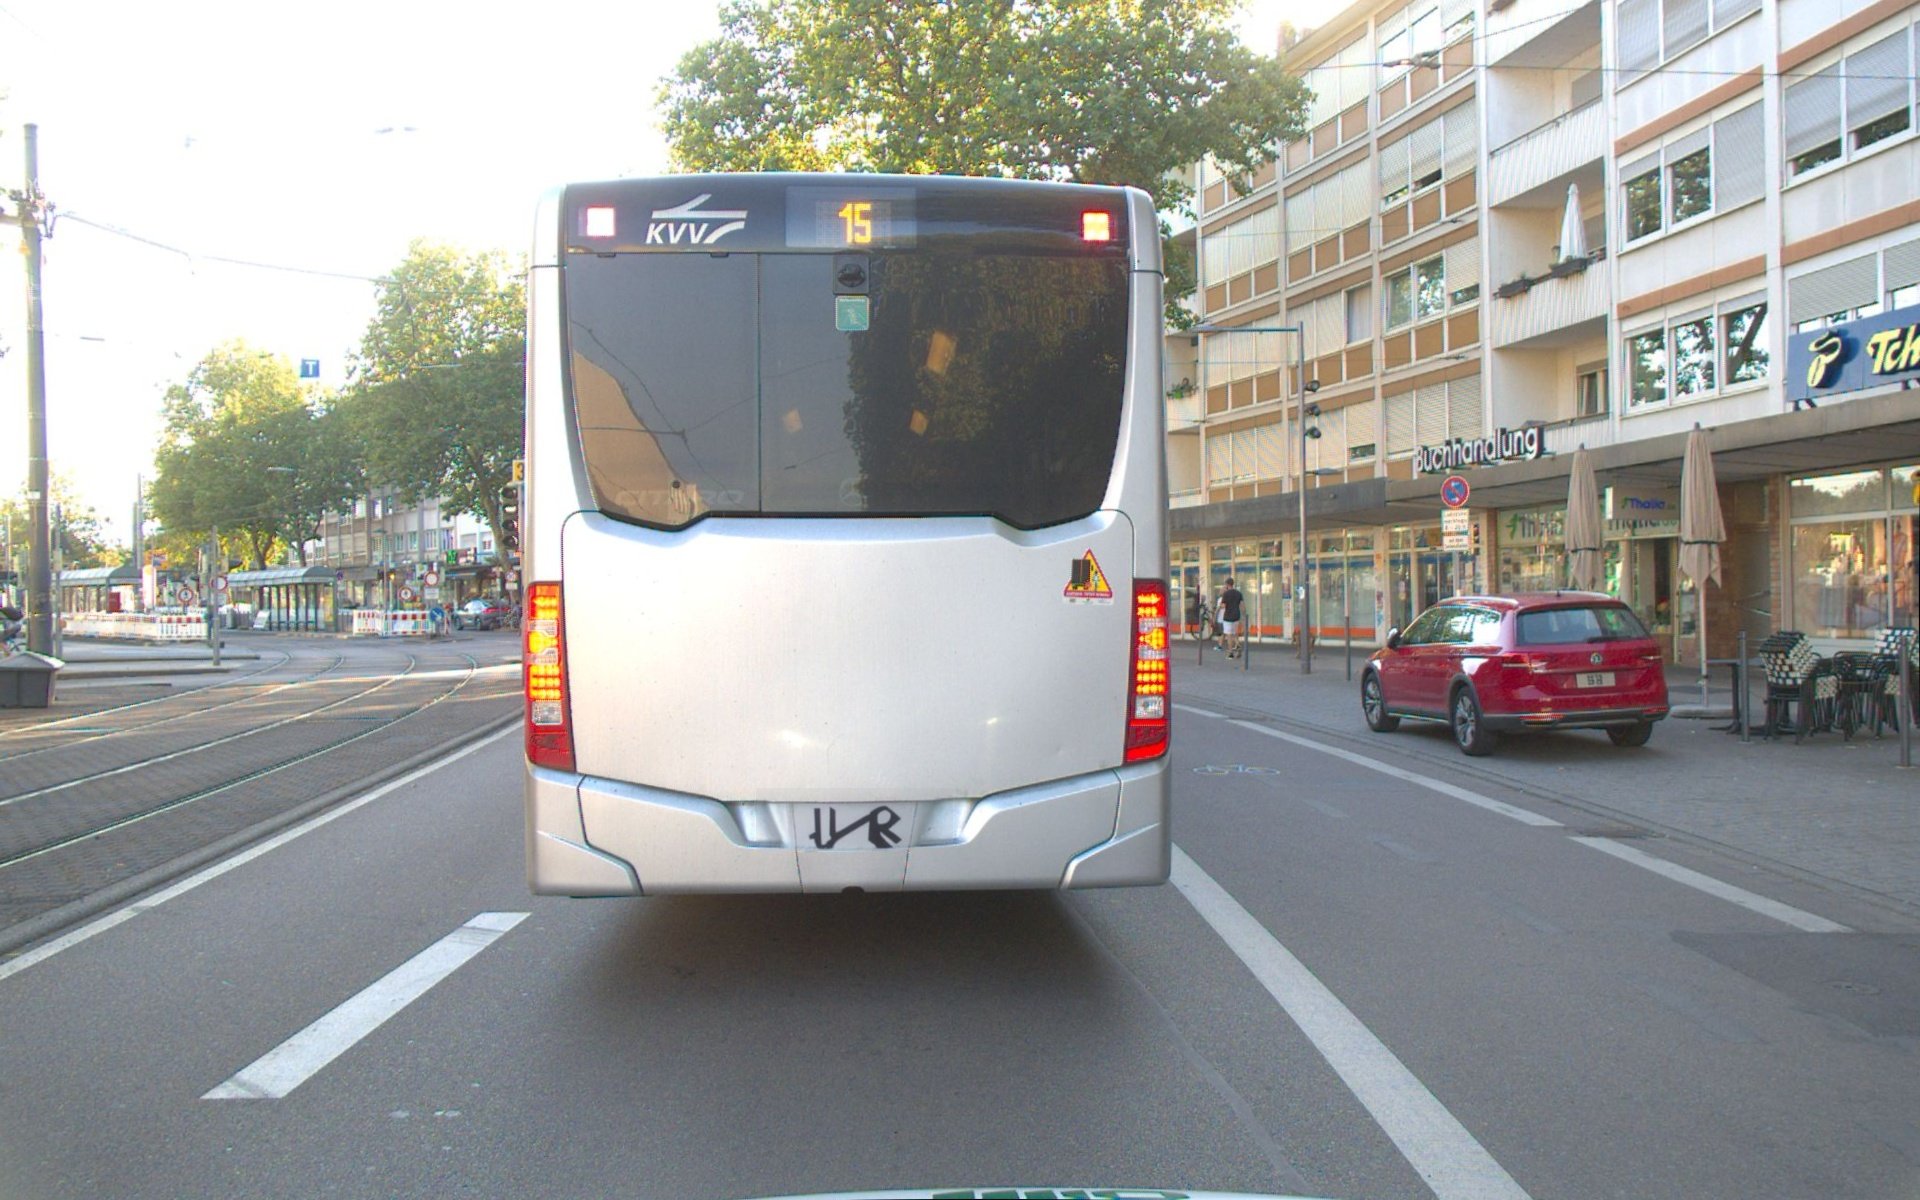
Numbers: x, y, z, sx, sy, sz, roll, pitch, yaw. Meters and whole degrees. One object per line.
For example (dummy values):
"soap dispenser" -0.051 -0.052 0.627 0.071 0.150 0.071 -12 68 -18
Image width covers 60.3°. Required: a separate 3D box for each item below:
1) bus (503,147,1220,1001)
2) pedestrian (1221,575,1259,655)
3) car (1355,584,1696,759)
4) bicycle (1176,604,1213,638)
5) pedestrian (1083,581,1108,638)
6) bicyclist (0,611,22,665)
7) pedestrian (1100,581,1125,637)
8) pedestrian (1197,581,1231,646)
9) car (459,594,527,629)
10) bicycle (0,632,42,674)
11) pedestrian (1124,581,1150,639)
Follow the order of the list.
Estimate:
"bus" -0.438 -0.092 10.996 2.577 3.081 9.995 0 0 -1
"pedestrian" 6.184 0.330 36.521 0.634 1.747 0.557 -1 0 -17
"car" 5.643 0.641 17.118 1.735 1.508 4.299 -2 0 -5
"bicycle" 6.717 0.605 47.487 0.406 0.961 1.431 -1 0 -21
"pedestrian" 4.046 0.279 49.303 0.527 1.677 0.612 -1 0 -18
"bicyclist" -23.477 0.940 40.675 0.629 1.316 0.454 -1 0 -20
"pedestrian" 4.612 0.269 49.911 0.527 1.677 0.612 -1 0 -18
"pedestrian" 6.319 0.337 41.119 0.634 1.609 0.557 -1 0 -17
"car" -24.963 0.605 88.313 1.982 1.823 3.940 1 -1 -41
"bicycle" -23.464 1.312 40.676 1.483 1.003 0.448 -1 0 -20
"pedestrian" 5.117 0.289 47.847 0.527 1.677 0.612 -1 0 -18
